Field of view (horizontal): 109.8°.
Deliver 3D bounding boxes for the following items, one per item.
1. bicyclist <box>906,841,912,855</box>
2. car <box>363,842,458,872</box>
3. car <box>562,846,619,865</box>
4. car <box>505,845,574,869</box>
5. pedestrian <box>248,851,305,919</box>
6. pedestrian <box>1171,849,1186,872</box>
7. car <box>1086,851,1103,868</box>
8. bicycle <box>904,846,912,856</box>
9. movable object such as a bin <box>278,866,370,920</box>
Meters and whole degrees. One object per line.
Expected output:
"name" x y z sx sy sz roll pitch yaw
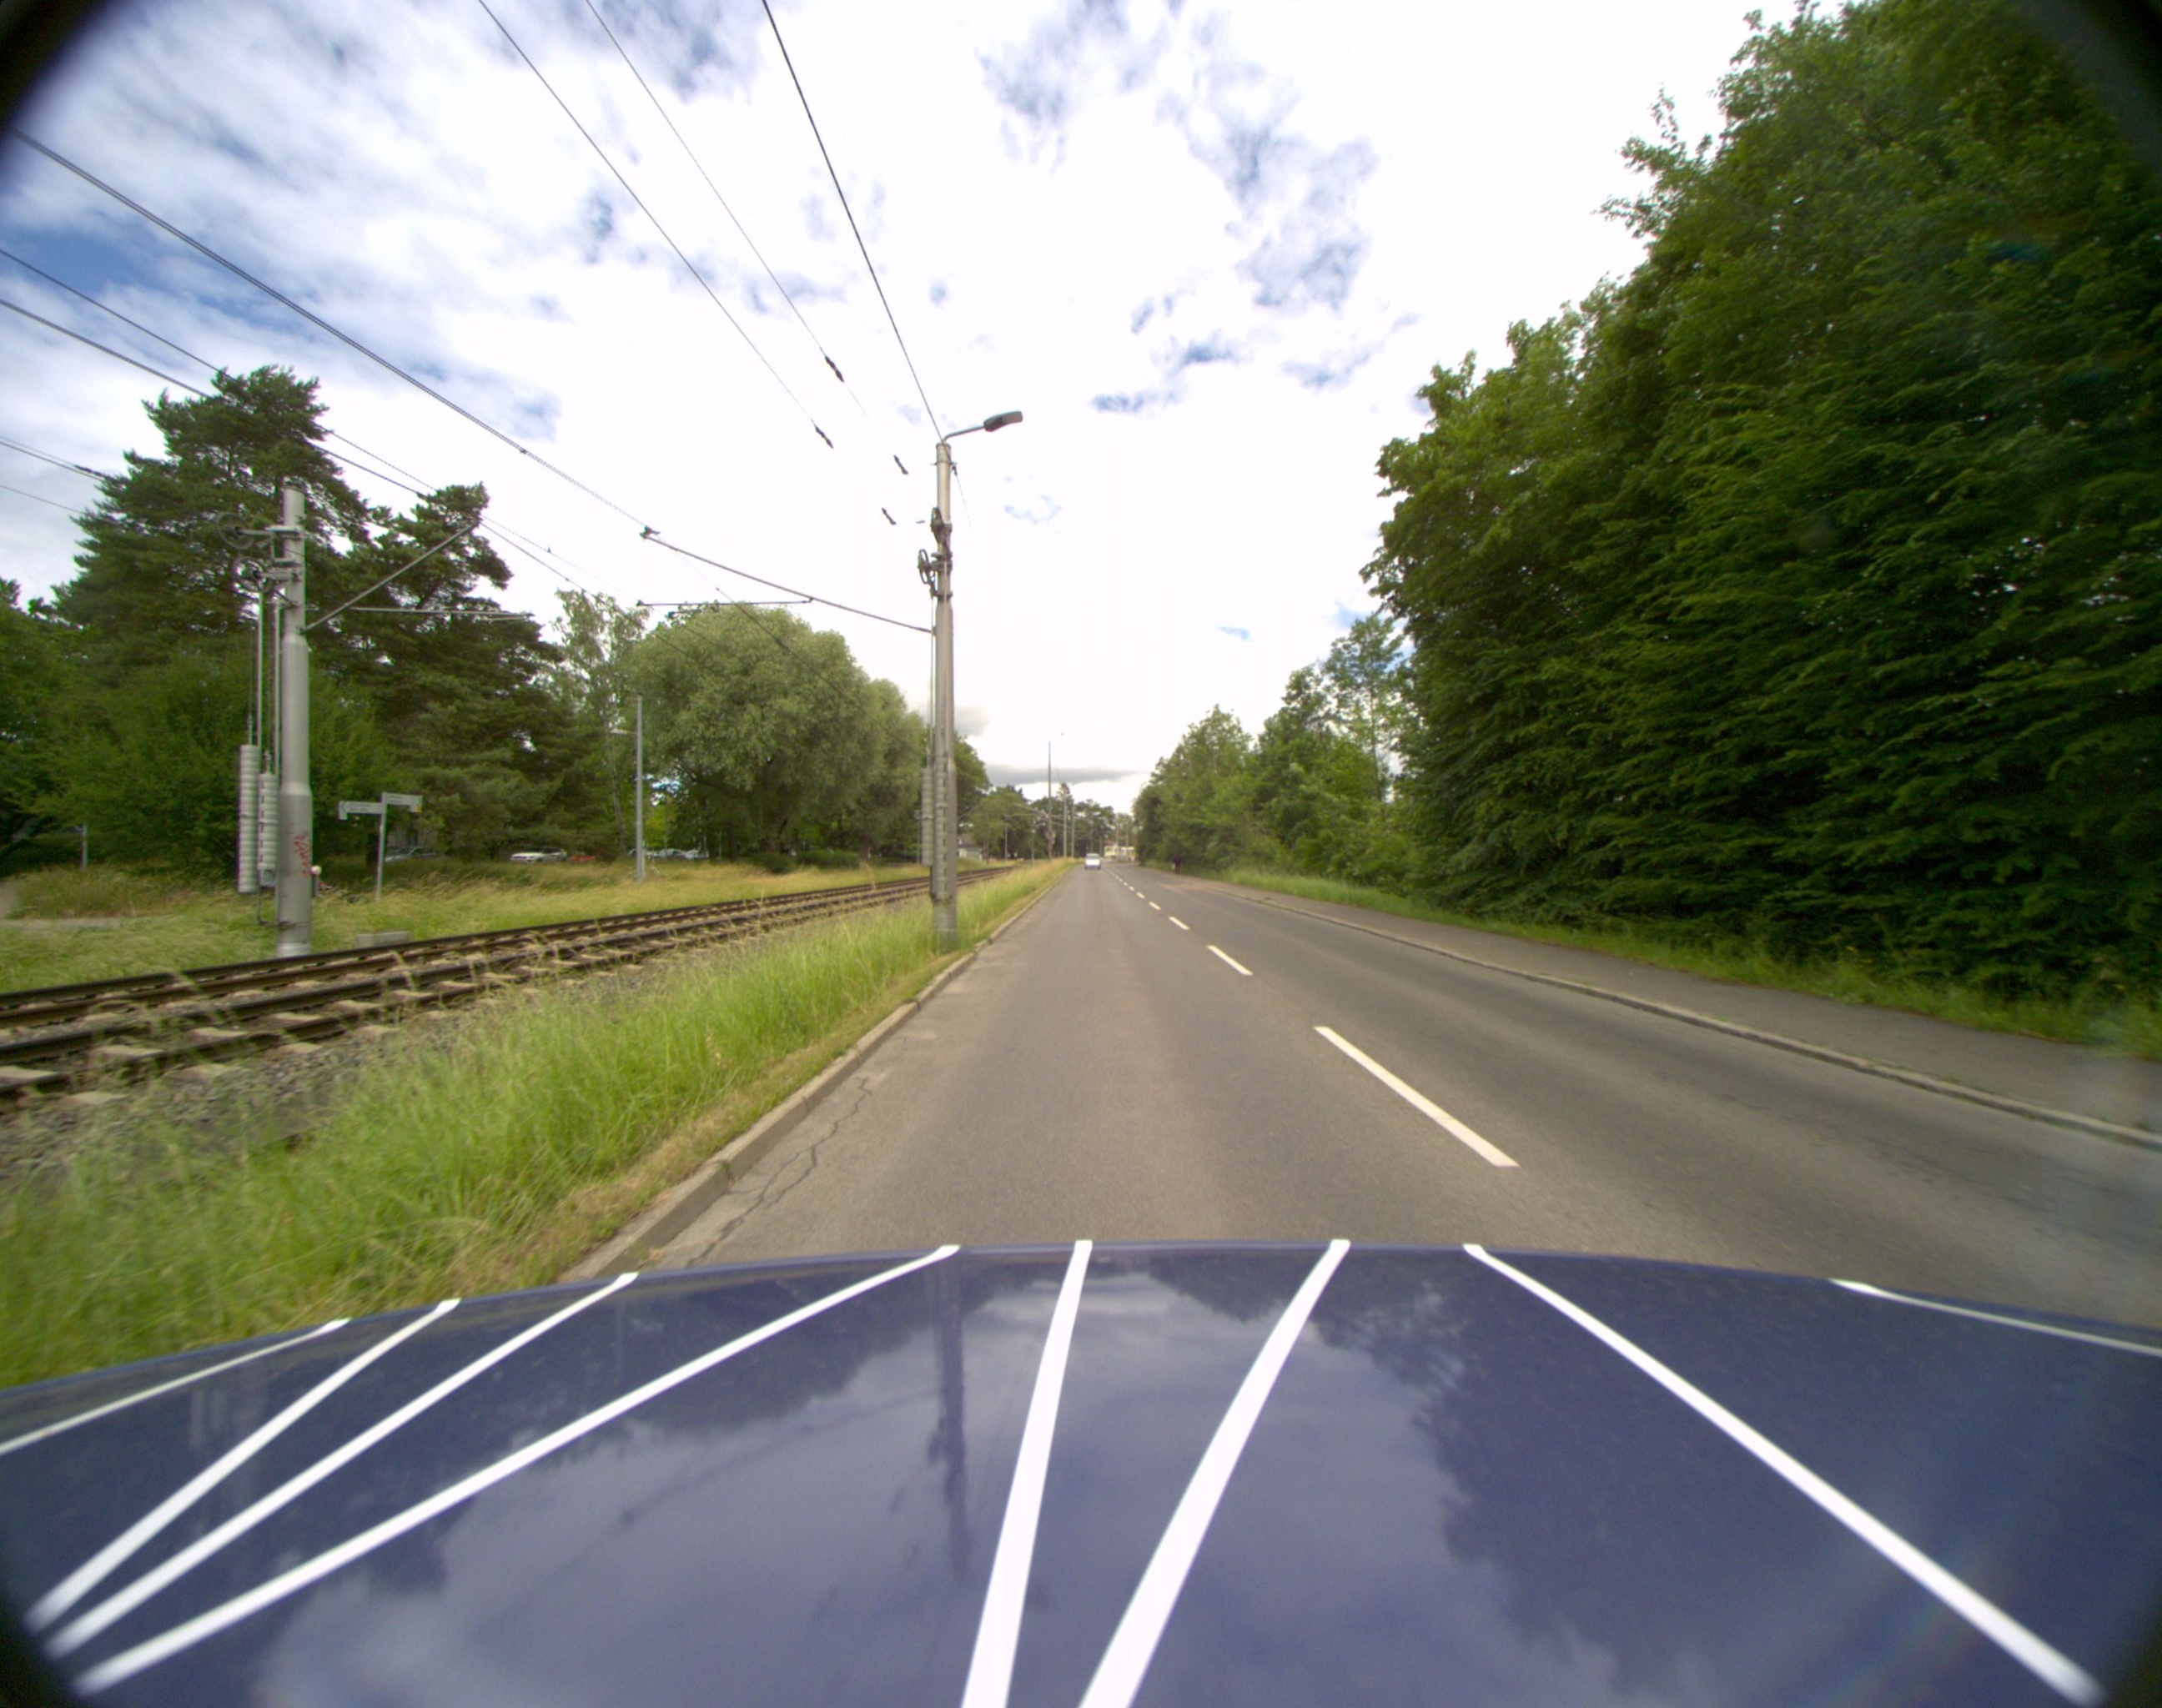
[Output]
"bicyclist" -21.855 -0.762 96.386 0.582 1.686 0.935 0 1 -3
"car" -40.198 0.165 45.711 1.998 1.690 4.001 -1 0 3
"car" -39.890 0.102 61.878 1.998 1.434 4.000 0 0 1
"car" -40.028 0.181 56.303 1.998 1.690 4.229 -1 0 1
"pedestrian" -20.287 0.766 19.168 0.656 1.657 0.960 1 1 42
"pedestrian" 7.439 0.505 58.065 0.870 1.759 0.789 3 0 -5
"car" 1.439 0.588 79.846 1.733 1.638 4.227 -1 -1 2
"bicycle" -21.822 -0.350 95.949 0.582 1.239 1.928 0 0 -2
"movable object such as a bin" -19.691 0.986 19.792 0.658 1.303 1.646 1 1 42
